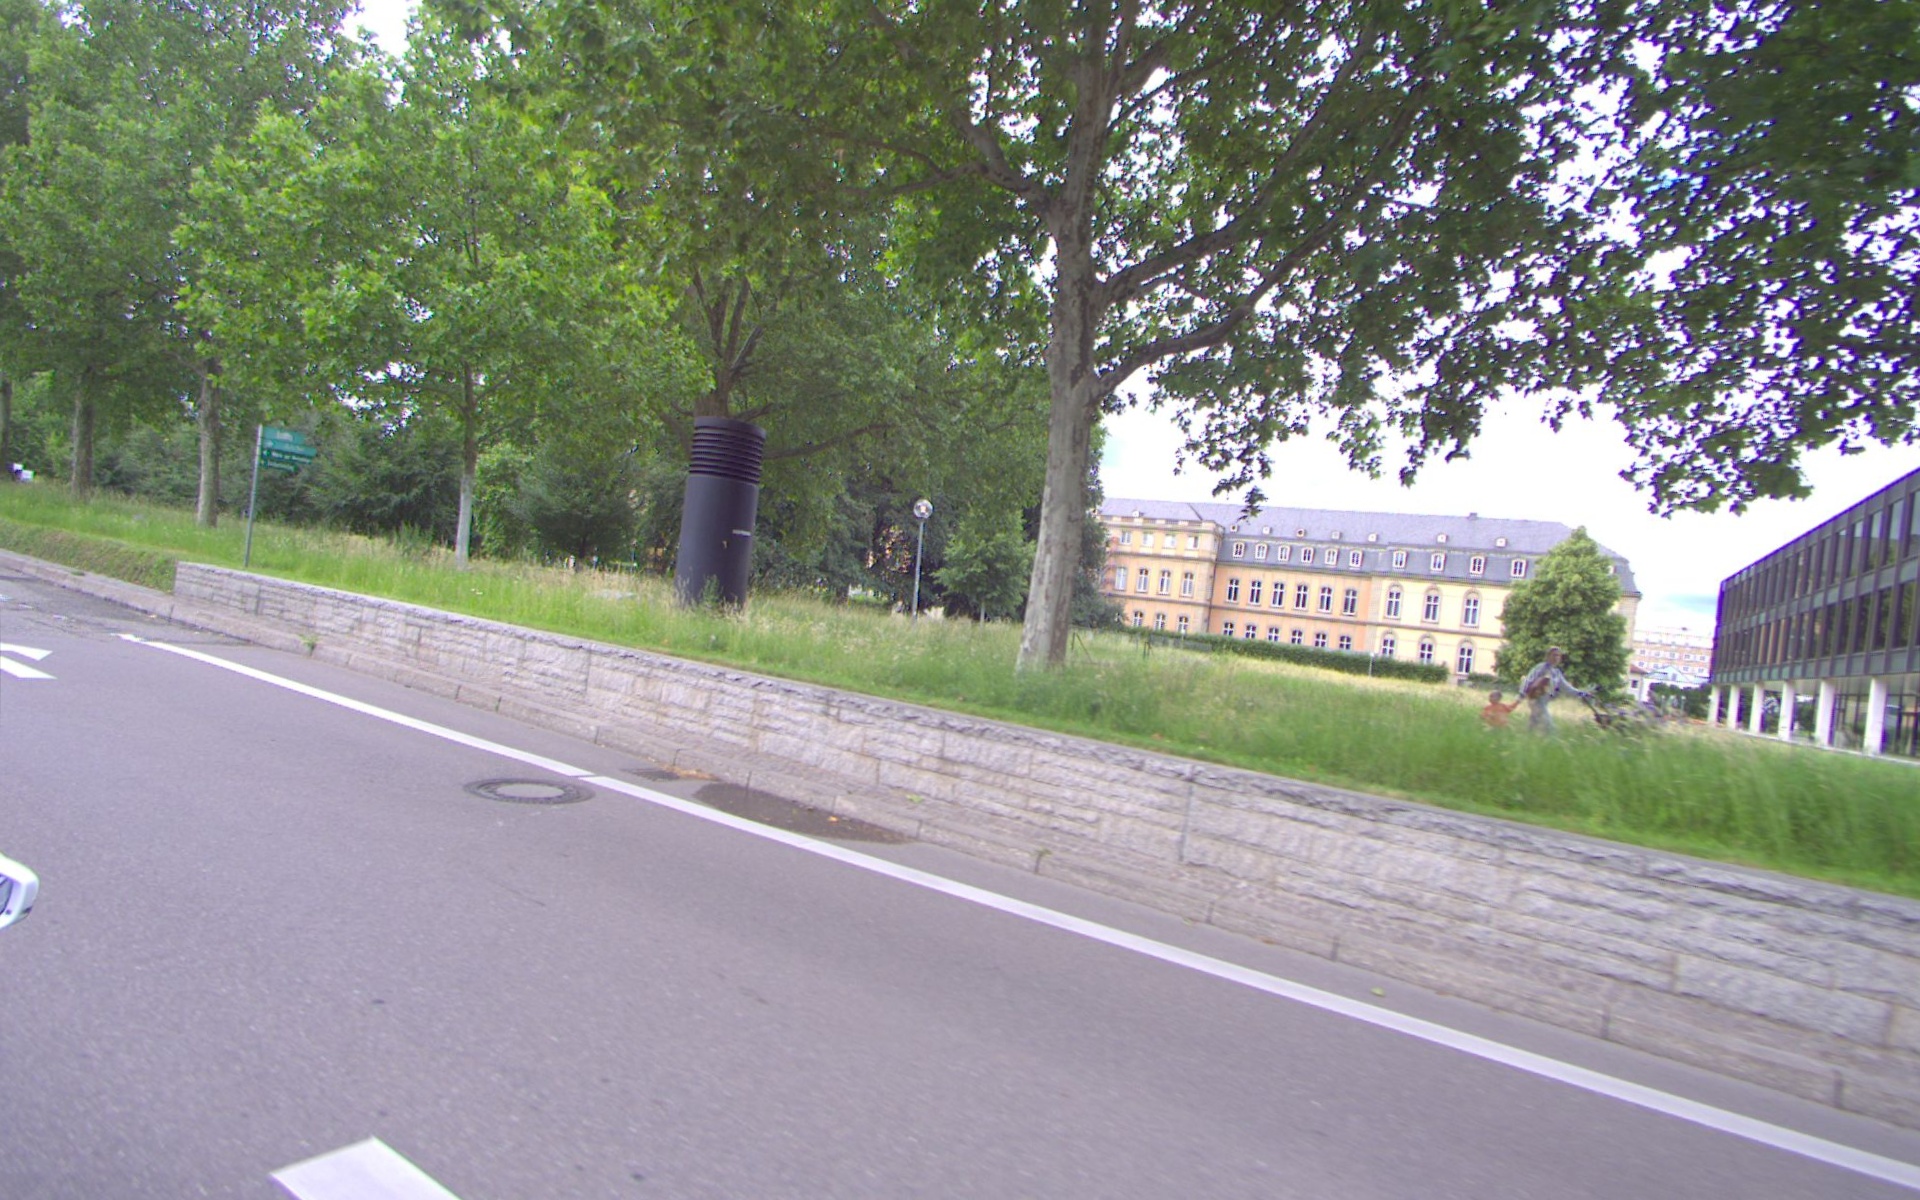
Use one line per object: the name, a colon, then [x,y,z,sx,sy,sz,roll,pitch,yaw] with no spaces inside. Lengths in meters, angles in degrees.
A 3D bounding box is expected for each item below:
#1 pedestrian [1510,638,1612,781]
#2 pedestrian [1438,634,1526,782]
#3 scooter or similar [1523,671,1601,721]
pedestrian: [8.607,1.565,14.461,1.012,1.856,1.000,6,-3,28]
pedestrian: [7.698,1.580,14.836,0.917,2.036,0.571,6,-3,32]
scooter or similar: [8.564,1.367,14.329,0.882,0.558,0.619,6,-4,32]
